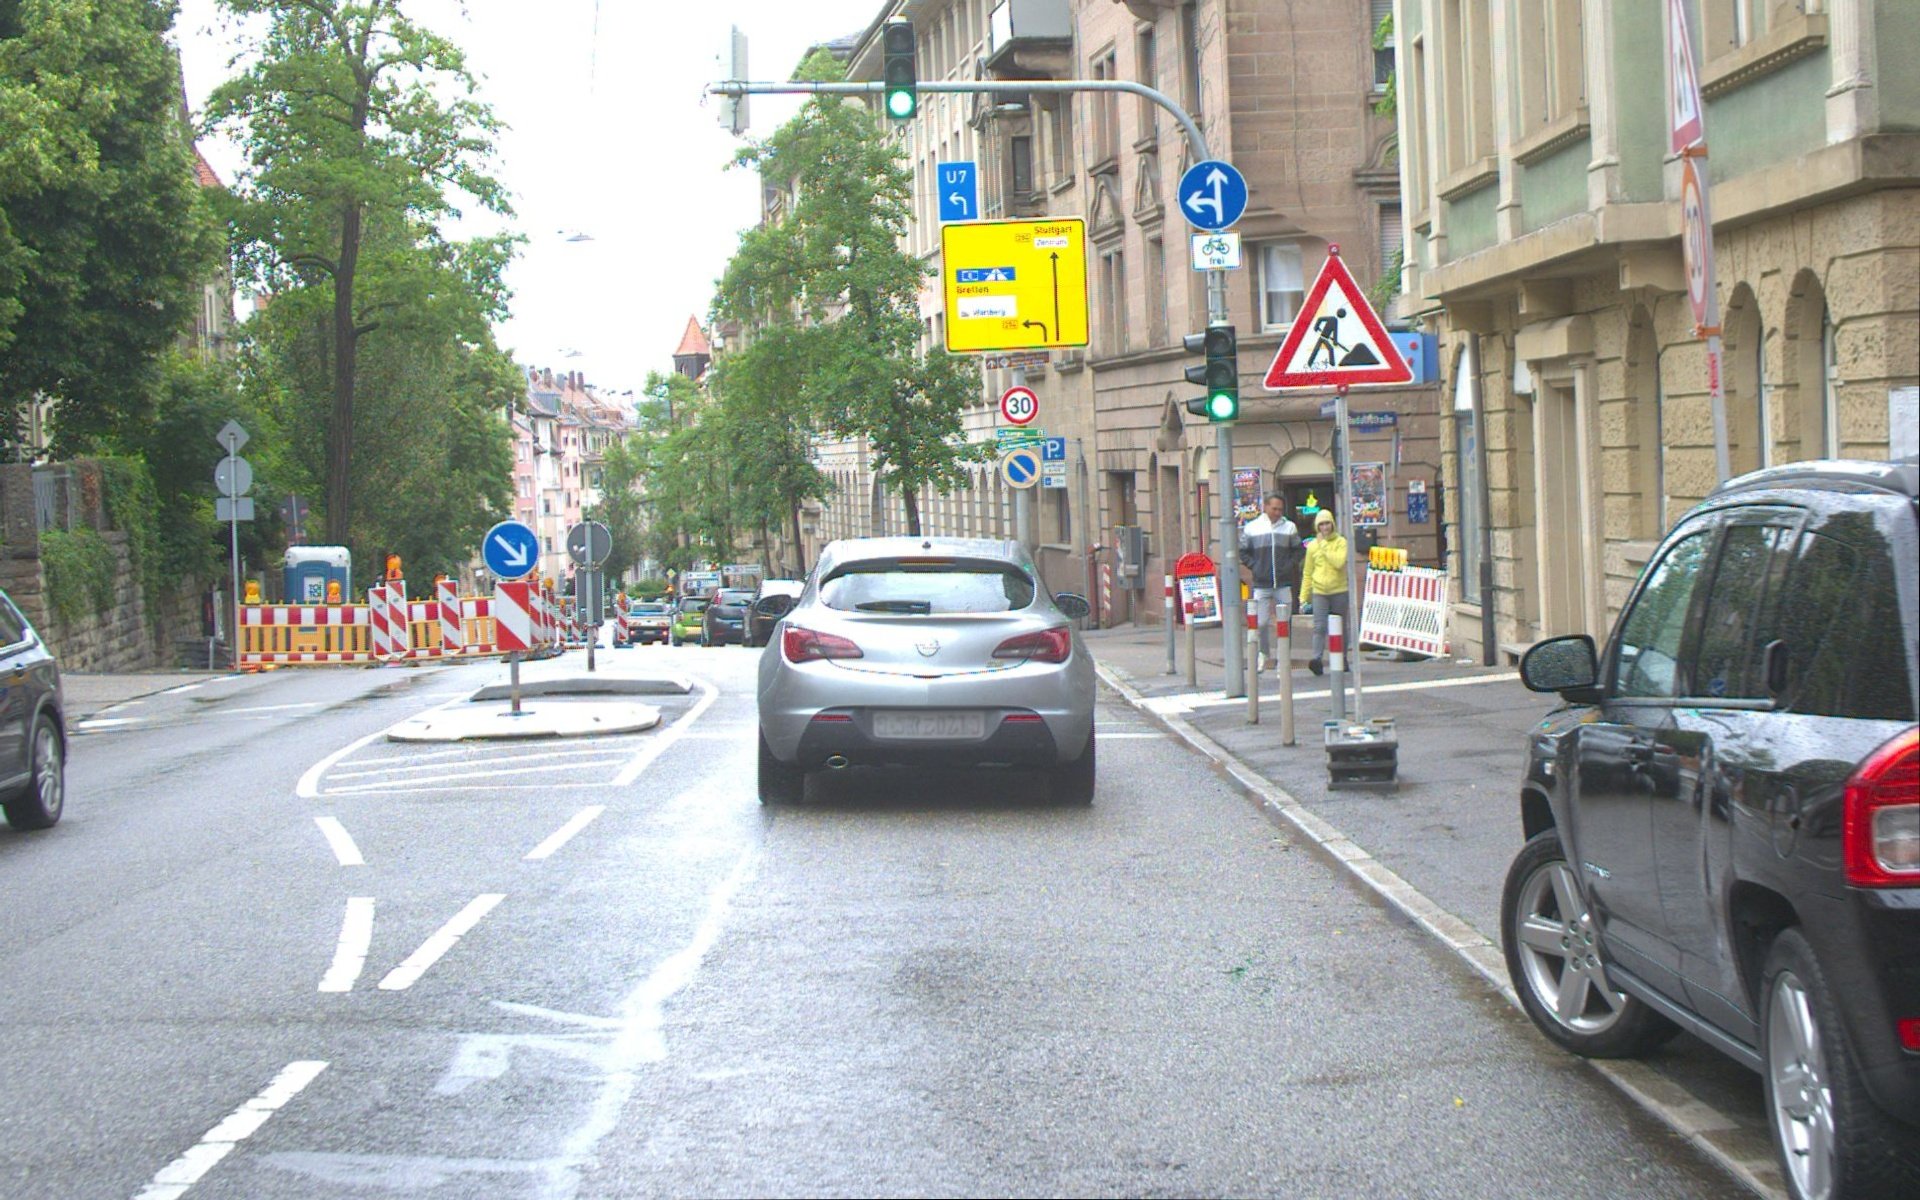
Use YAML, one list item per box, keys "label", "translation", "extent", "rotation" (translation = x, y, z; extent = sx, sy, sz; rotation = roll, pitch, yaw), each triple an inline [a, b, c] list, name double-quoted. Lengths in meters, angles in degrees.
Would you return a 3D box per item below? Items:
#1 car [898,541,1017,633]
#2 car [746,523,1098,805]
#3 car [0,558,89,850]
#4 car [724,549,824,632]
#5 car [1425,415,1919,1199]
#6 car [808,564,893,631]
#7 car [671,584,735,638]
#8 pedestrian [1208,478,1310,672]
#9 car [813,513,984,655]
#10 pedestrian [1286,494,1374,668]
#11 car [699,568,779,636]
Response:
- label: "car"
  translation: [-0.077, -0.221, 63.277]
  extent: [1.656, 1.538, 3.666]
  rotation: [-4, 0, -7]
- label: "car"
  translation: [-0.181, 0.332, 19.763]
  extent: [1.811, 1.444, 3.869]
  rotation: [-1, 0, 1]
- label: "car"
  translation: [-5.915, 0.595, 17.382]
  extent: [1.815, 1.512, 4.548]
  rotation: [-3, 1, 0]
- label: "car"
  translation: [-3.810, -0.169, 69.987]
  extent: [1.656, 1.538, 3.666]
  rotation: [-4, 0, -7]
- label: "car"
  translation: [2.415, 0.439, 8.065]
  extent: [1.877, 1.624, 4.697]
  rotation: [-5, 0, 0]
- label: "car"
  translation: [-2.722, -0.050, 84.856]
  extent: [1.638, 1.515, 3.184]
  rotation: [-5, 0, -8]
- label: "car"
  translation: [-7.911, 0.352, 105.546]
  extent: [1.656, 1.538, 3.666]
  rotation: [-4, 0, -7]
- label: "pedestrian"
  translation: [2.822, -0.237, 32.418]
  extent: [0.718, 1.768, 0.665]
  rotation: [-3, 1, 18]
- label: "car"
  translation: [-0.738, -0.174, 38.725]
  extent: [1.772, 1.499, 3.869]
  rotation: [-1, 0, -3]
- label: "pedestrian"
  translation: [3.475, -0.182, 32.270]
  extent: [0.597, 1.579, 0.665]
  rotation: [-3, 1, 18]
- label: "car"
  translation: [-5.491, 0.071, 85.276]
  extent: [1.656, 1.538, 3.666]
  rotation: [-4, 0, -7]
